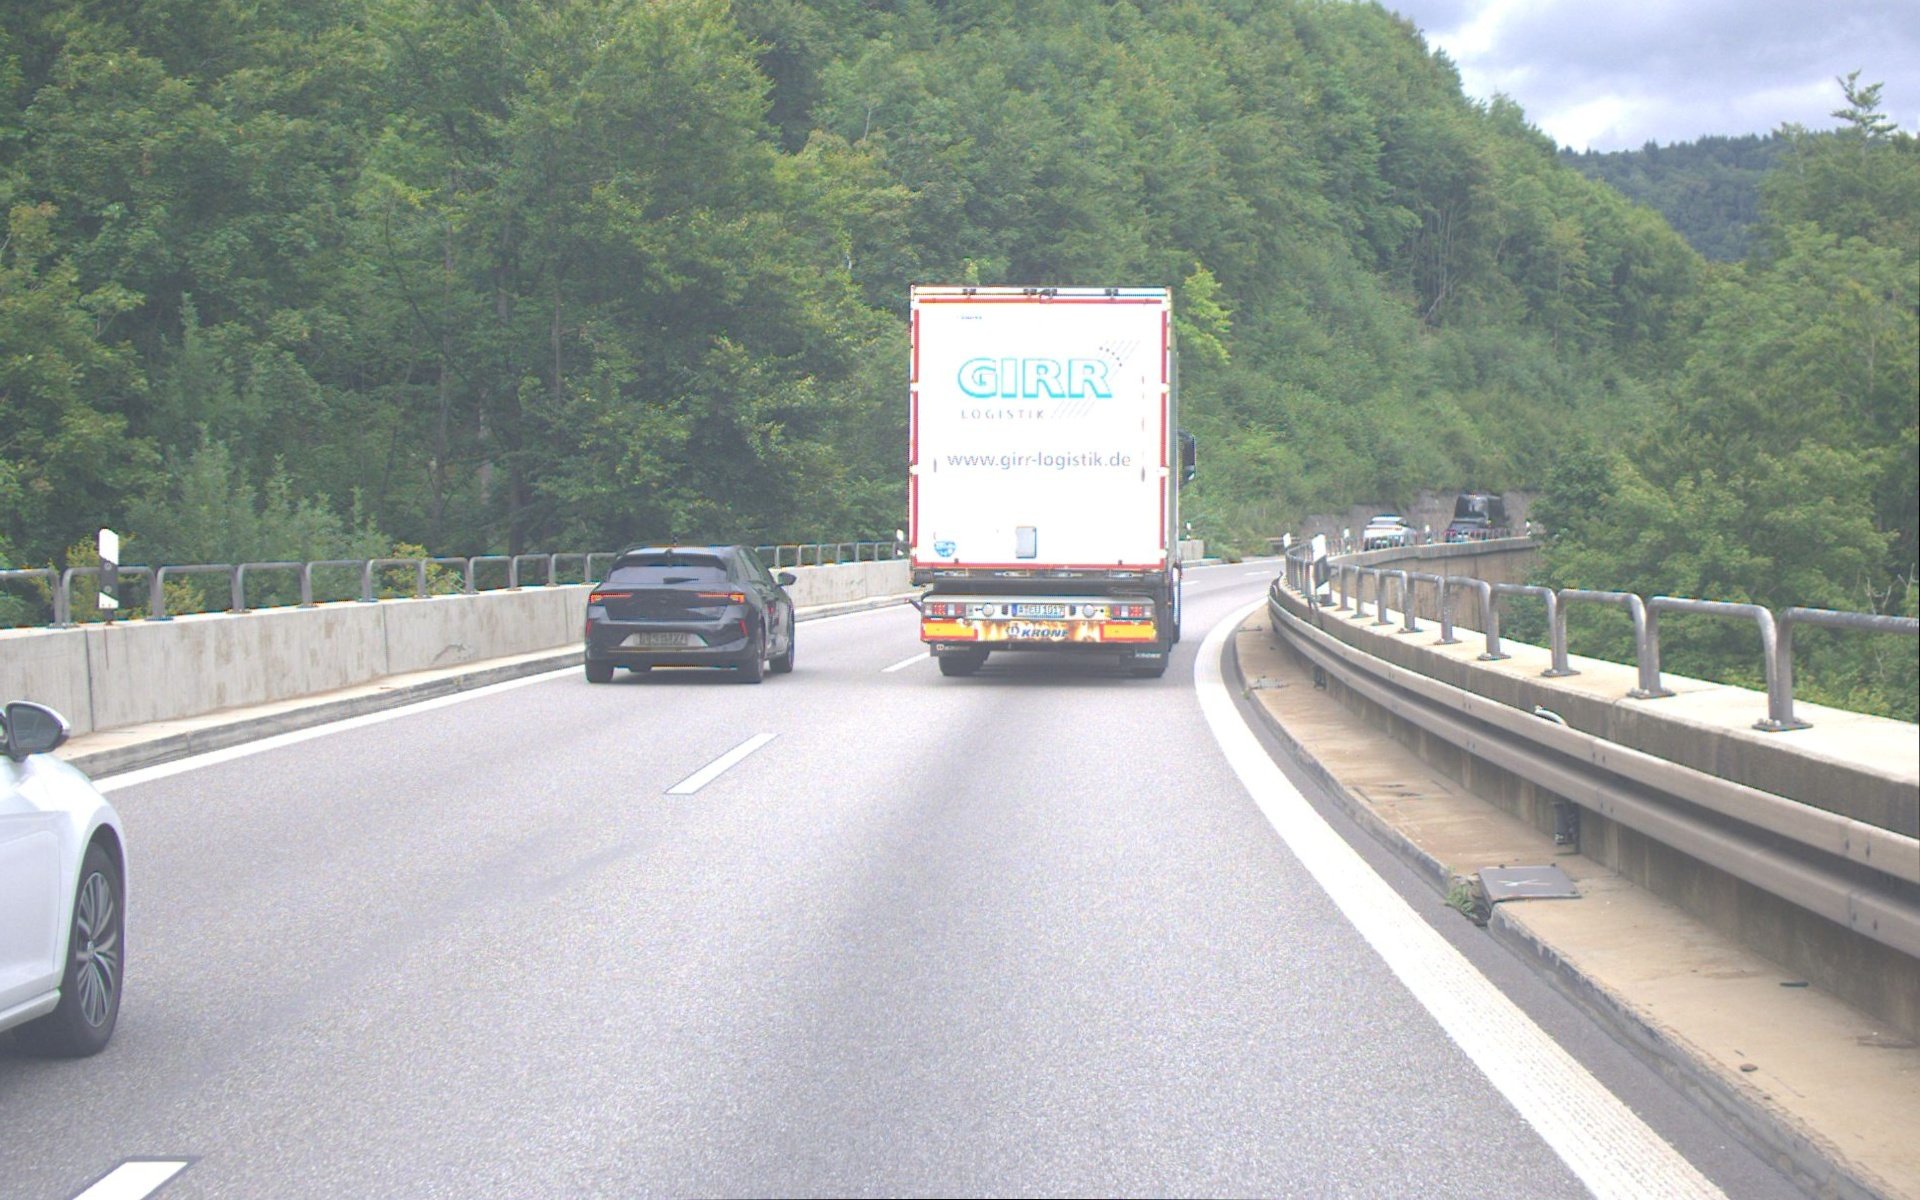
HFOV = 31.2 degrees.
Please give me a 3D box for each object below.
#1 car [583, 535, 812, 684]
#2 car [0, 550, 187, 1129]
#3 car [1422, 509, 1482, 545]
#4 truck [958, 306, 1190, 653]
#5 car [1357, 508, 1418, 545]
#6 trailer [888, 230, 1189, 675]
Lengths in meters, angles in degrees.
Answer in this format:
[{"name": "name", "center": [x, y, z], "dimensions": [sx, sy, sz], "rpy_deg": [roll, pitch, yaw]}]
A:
[{"name": "car", "center": [-2.679, 0.067, 36.053], "dimensions": [1.773, 1.456, 4.581], "rpy_deg": [0, 1, 4]}, {"name": "car", "center": [-3.388, 0.622, 8.549], "dimensions": [1.845, 1.476, 4.628], "rpy_deg": [0, 1, 1]}, {"name": "car", "center": [22.190, -3.277, 154.962], "dimensions": [1.995, 1.560, 3.996], "rpy_deg": [0, 0, 18]}, {"name": "truck", "center": [1.629, -1.524, 46.043], "dimensions": [2.814, 4.288, 6.258], "rpy_deg": [-1, 0, 4]}, {"name": "car", "center": [19.162, -3.262, 153.892], "dimensions": [1.995, 1.560, 3.996], "rpy_deg": [0, 0, 18]}, {"name": "trailer", "center": [1.169, -1.479, 39.615], "dimensions": [2.814, 4.288, 12.243], "rpy_deg": [-1, 0, 4]}]
